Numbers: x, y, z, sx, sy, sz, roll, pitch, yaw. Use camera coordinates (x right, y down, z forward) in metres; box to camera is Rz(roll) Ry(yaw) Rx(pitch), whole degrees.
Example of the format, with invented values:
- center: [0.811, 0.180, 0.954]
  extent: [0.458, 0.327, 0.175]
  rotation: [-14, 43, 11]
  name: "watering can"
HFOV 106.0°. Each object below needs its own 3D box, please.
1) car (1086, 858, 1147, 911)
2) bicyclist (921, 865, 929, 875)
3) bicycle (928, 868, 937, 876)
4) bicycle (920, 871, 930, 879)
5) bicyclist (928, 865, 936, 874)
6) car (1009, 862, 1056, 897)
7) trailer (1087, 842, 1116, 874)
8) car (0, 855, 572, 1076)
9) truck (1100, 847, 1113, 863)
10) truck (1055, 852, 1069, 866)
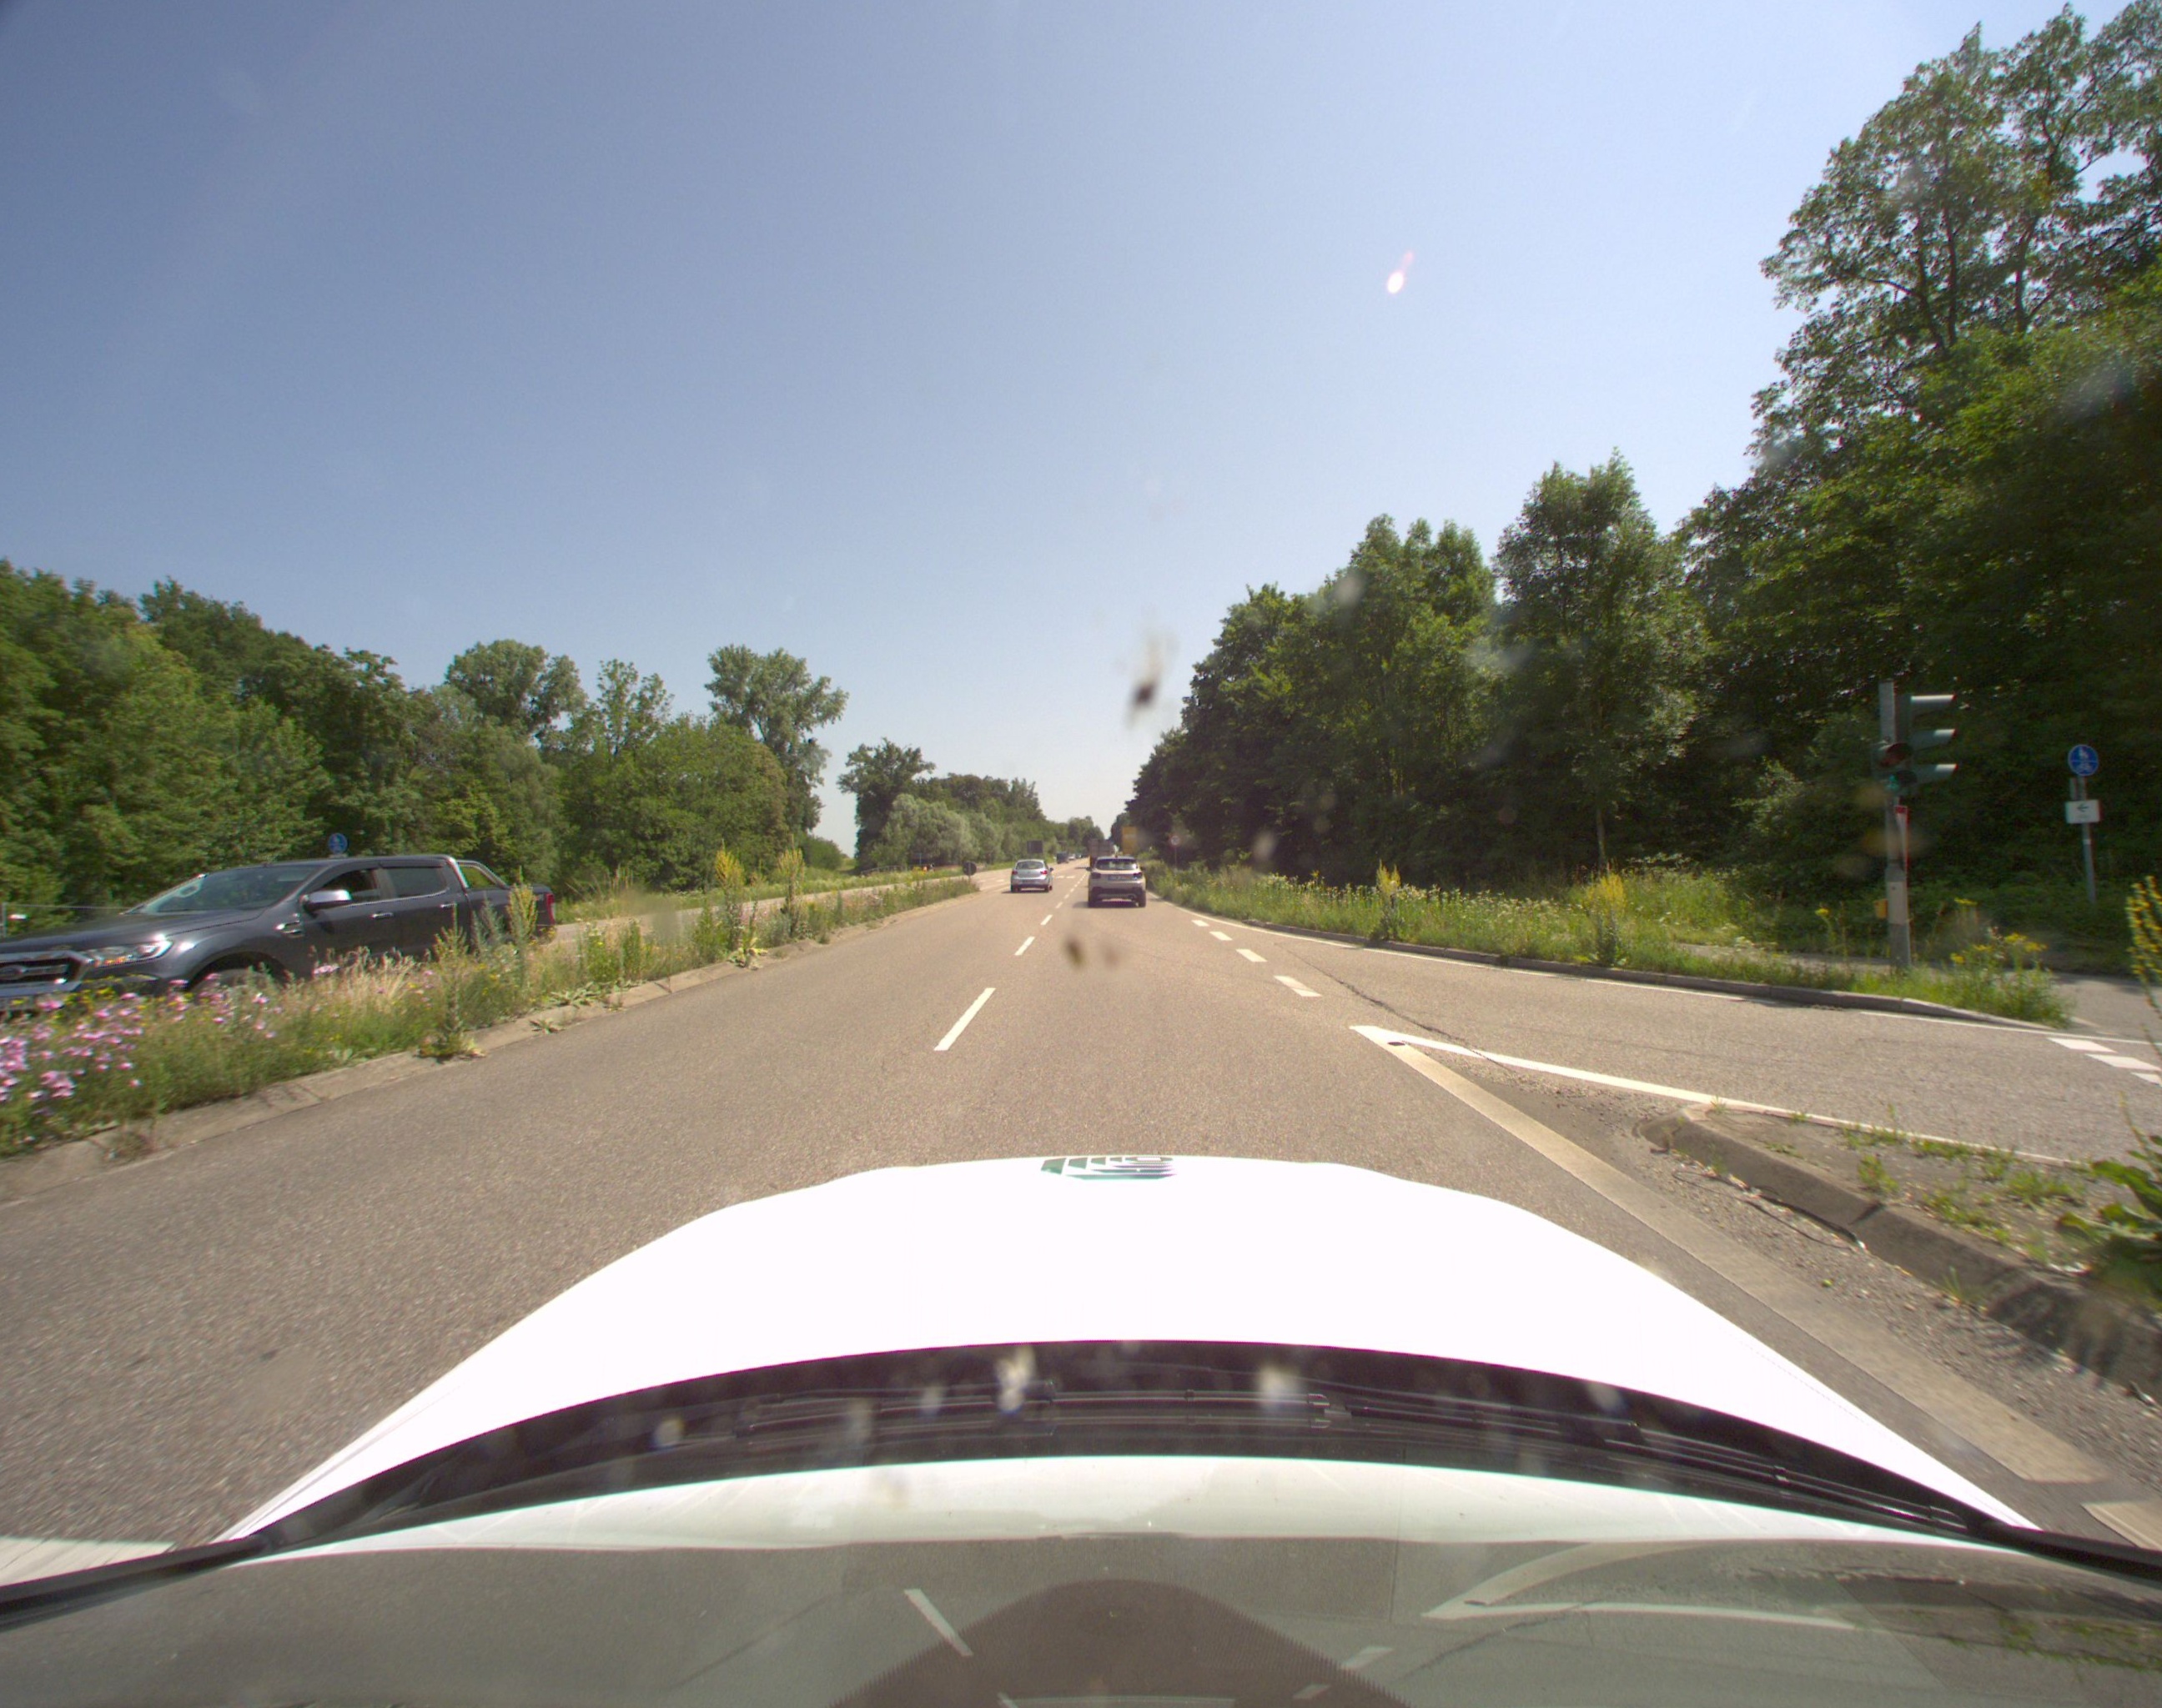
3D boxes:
- center: [1.154, 0.906, 25.997]
  extent: [1.760, 1.535, 4.003]
  rotation: [-2, 0, 3]
  name: "car"
- center: [-20.758, 2.118, 108.301]
  extent: [0.752, 1.195, 0.594]
  rotation: [-3, 0, 12]
  name: "bicyclist"
- center: [-20.482, 2.494, 112.118]
  extent: [0.600, 1.006, 1.561]
  rotation: [-3, -1, 13]
  name: "bicycle"
- center: [-20.722, 2.780, 108.240]
  extent: [0.671, 1.005, 1.806]
  rotation: [-3, 0, 12]
  name: "bicycle"
- center: [-20.501, 2.122, 112.051]
  extent: [0.730, 1.195, 0.594]
  rotation: [-3, -1, 13]
  name: "bicyclist"
- center: [-2.094, 1.095, 36.278]
  extent: [1.659, 1.430, 3.831]
  rotation: [-1, 0, 3]
  name: "car"
- center: [2.831, 0.524, 107.364]
  extent: [3.368, 3.989, 10.812]
  rotation: [-1, -1, 3]
  name: "trailer"
- center: [-8.482, 0.913, 9.053]
  extent: [1.985, 1.678, 5.369]
  rotation: [-3, 0, 3]
  name: "car"
- center: [6.968, 0.231, 223.779]
  extent: [3.484, 4.188, 10.787]
  rotation: [-1, -1, 2]
  name: "truck"
- center: [-4.031, 1.098, 174.904]
  extent: [2.445, 2.656, 6.495]
  rotation: [-5, 0, 2]
  name: "truck"
